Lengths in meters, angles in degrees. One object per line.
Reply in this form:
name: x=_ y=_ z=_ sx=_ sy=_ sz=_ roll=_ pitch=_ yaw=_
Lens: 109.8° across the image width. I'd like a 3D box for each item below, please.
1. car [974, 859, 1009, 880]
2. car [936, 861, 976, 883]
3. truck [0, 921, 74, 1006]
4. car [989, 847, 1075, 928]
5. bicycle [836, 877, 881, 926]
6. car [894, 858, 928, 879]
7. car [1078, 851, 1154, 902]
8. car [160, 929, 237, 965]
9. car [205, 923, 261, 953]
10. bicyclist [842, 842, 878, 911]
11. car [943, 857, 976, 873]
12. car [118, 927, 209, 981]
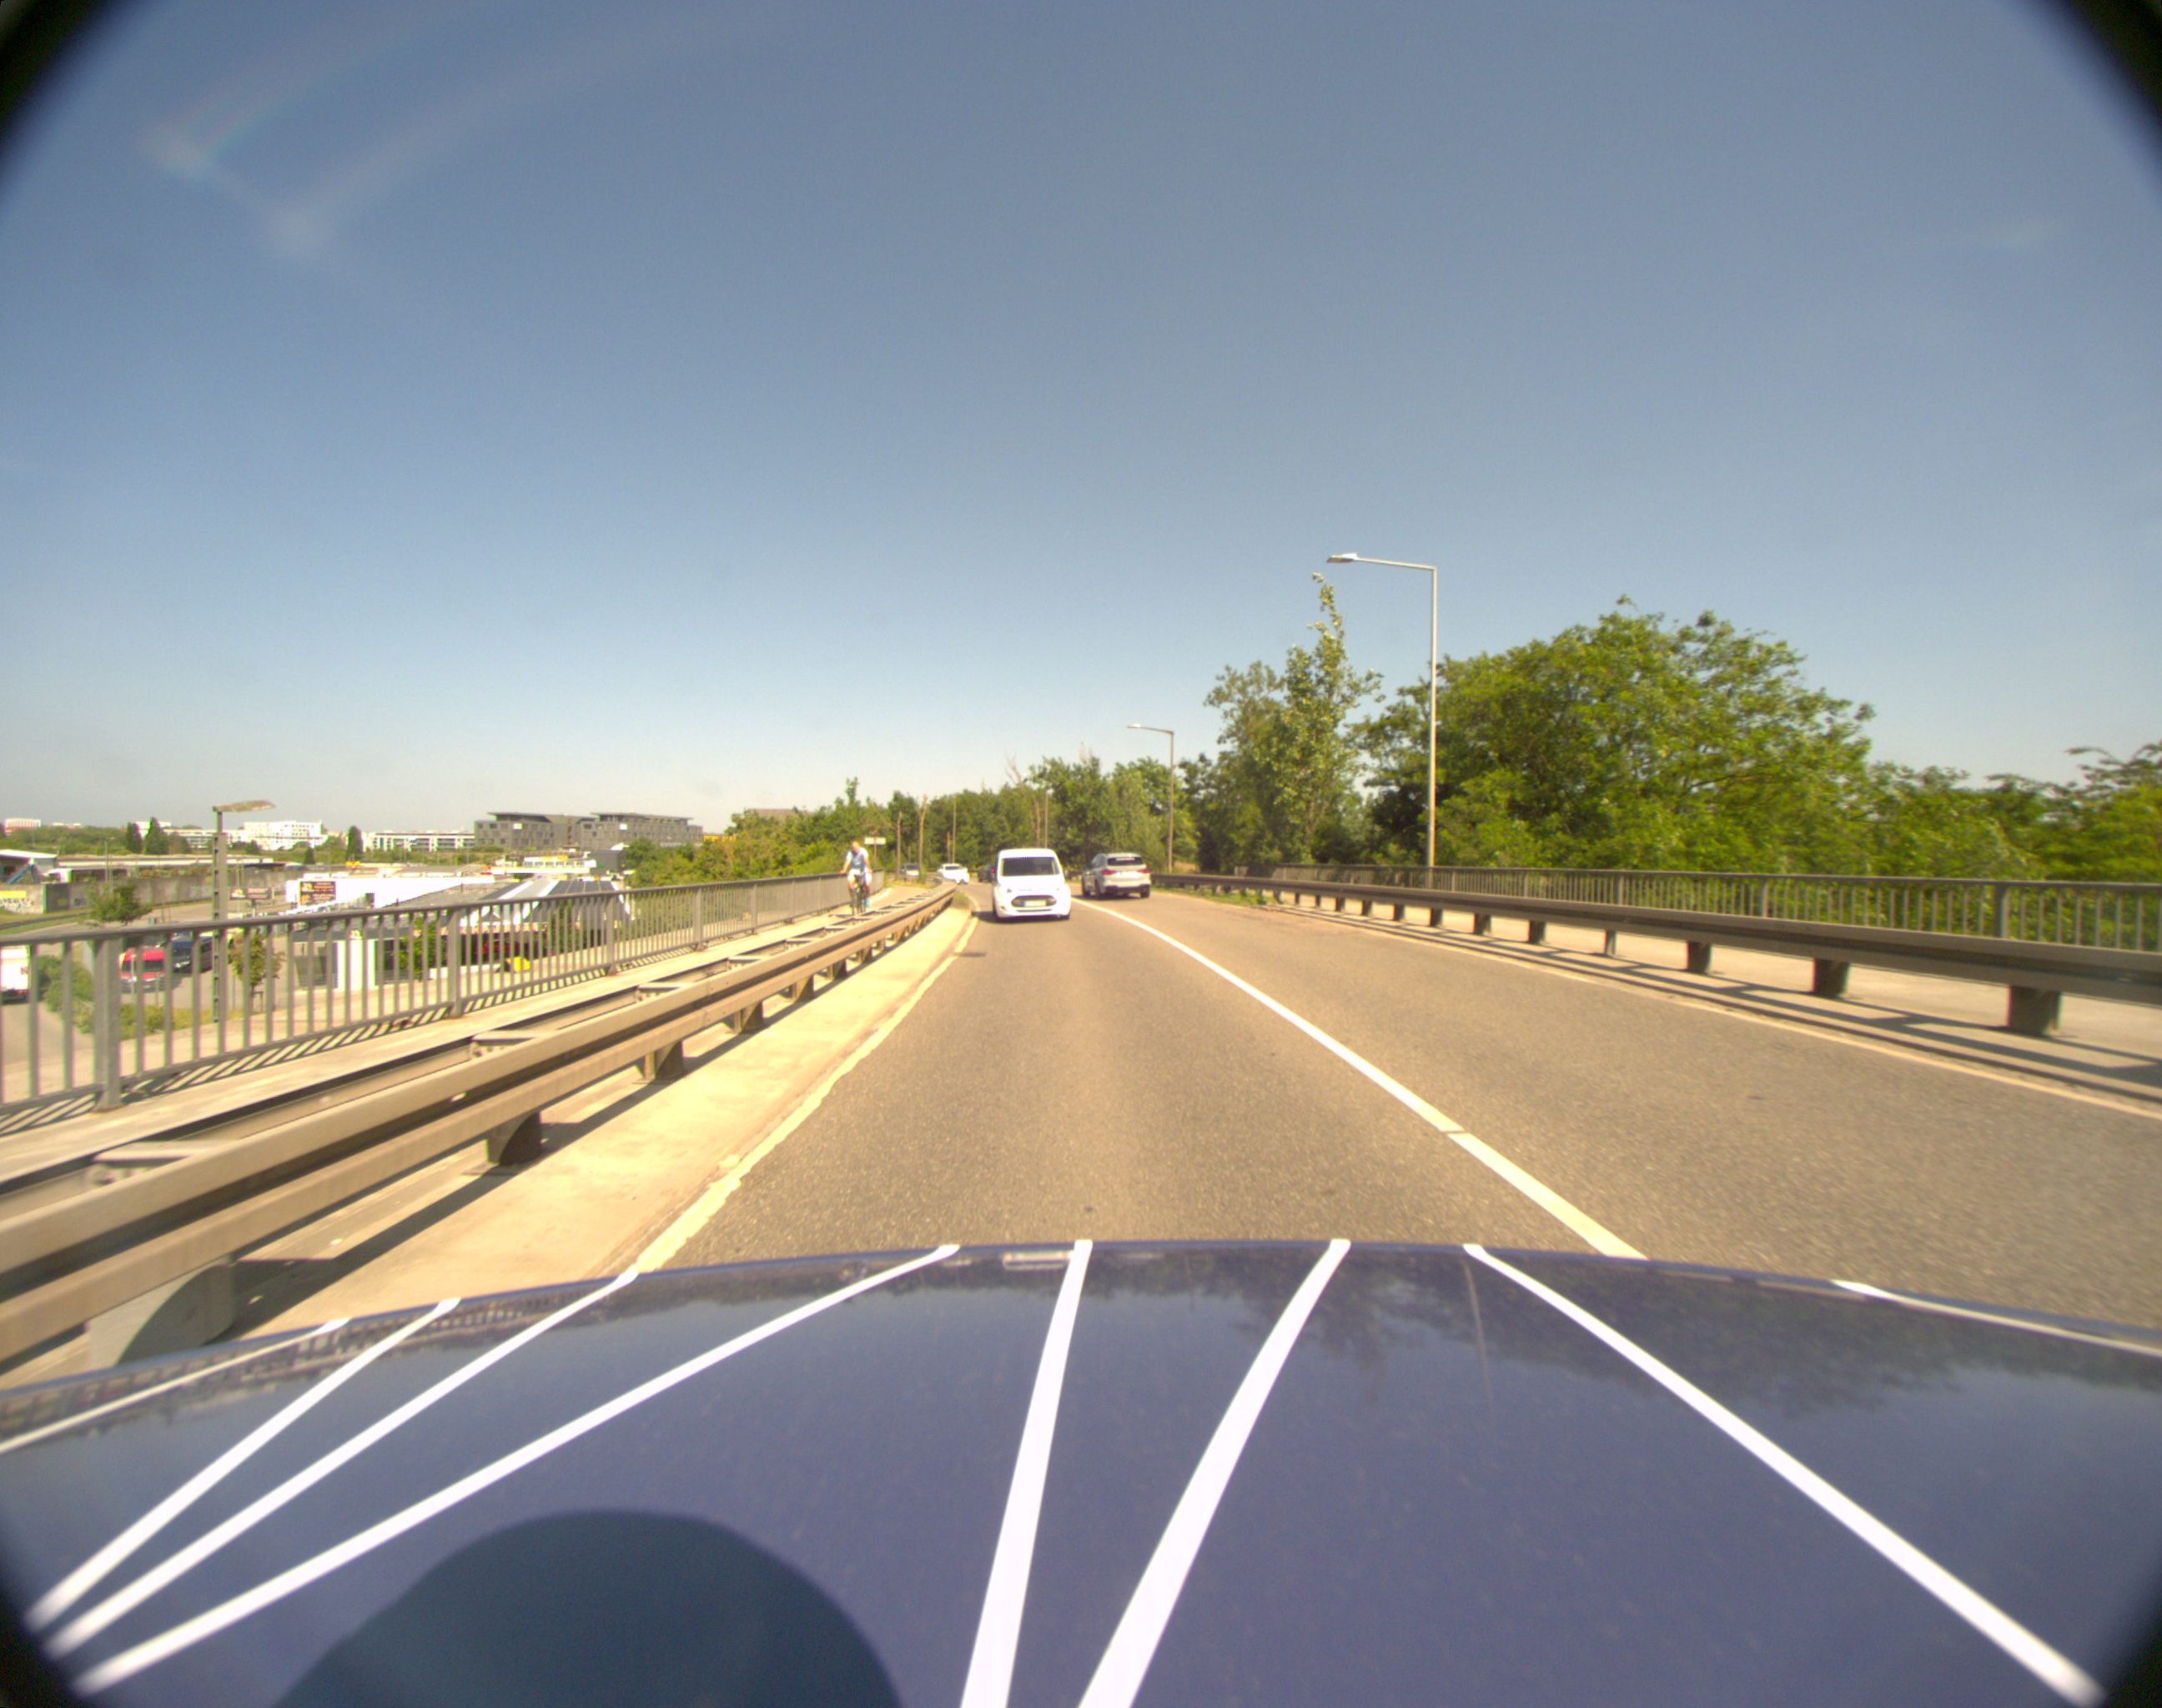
car: x=-6.650 y=1.118 z=56.135 sx=1.745 sy=1.448 sz=4.293 roll=-2 pitch=-1 yaw=-18
car: x=-9.142 y=1.309 z=55.191 sx=1.849 sy=1.479 sz=4.144 roll=-2 pitch=0 yaw=-23
truck: x=-66.976 y=6.692 z=47.782 sx=13.232 sy=4.005 sz=3.832 roll=0 pitch=-1 yaw=39
car: x=-1.338 y=0.761 z=19.574 sx=1.898 sy=1.785 sz=4.445 roll=-2 pitch=0 yaw=-6
bicycle: x=-5.089 y=1.063 z=17.475 sx=0.704 sy=1.014 sz=1.844 roll=2 pitch=0 yaw=-9
car: x=-15.109 y=1.269 z=67.467 sx=2.002 sy=1.577 sz=3.991 roll=-7 pitch=4 yaw=-25
car: x=1.205 y=0.758 z=28.334 sx=1.864 sy=1.673 sz=4.469 roll=-2 pitch=1 yaw=-10
car: x=-65.507 y=6.841 z=56.517 sx=2.311 sy=1.666 sz=5.363 roll=-7 pitch=5 yaw=-35
car: x=-68.950 y=6.815 z=61.838 sx=2.002 sy=1.861 sz=3.990 roll=-7 pitch=3 yaw=-35
bicyclist: x=-5.051 y=0.495 z=17.403 sx=0.660 sy=1.511 sz=0.802 roll=2 pitch=1 yaw=-9
car: x=-10.859 y=0.990 z=67.816 sx=1.725 sy=1.390 sz=4.173 roll=-2 pitch=0 yaw=-27
car: x=-61.849 y=6.651 z=51.361 sx=2.311 sy=2.650 sz=5.363 roll=-7 pitch=5 yaw=-35
